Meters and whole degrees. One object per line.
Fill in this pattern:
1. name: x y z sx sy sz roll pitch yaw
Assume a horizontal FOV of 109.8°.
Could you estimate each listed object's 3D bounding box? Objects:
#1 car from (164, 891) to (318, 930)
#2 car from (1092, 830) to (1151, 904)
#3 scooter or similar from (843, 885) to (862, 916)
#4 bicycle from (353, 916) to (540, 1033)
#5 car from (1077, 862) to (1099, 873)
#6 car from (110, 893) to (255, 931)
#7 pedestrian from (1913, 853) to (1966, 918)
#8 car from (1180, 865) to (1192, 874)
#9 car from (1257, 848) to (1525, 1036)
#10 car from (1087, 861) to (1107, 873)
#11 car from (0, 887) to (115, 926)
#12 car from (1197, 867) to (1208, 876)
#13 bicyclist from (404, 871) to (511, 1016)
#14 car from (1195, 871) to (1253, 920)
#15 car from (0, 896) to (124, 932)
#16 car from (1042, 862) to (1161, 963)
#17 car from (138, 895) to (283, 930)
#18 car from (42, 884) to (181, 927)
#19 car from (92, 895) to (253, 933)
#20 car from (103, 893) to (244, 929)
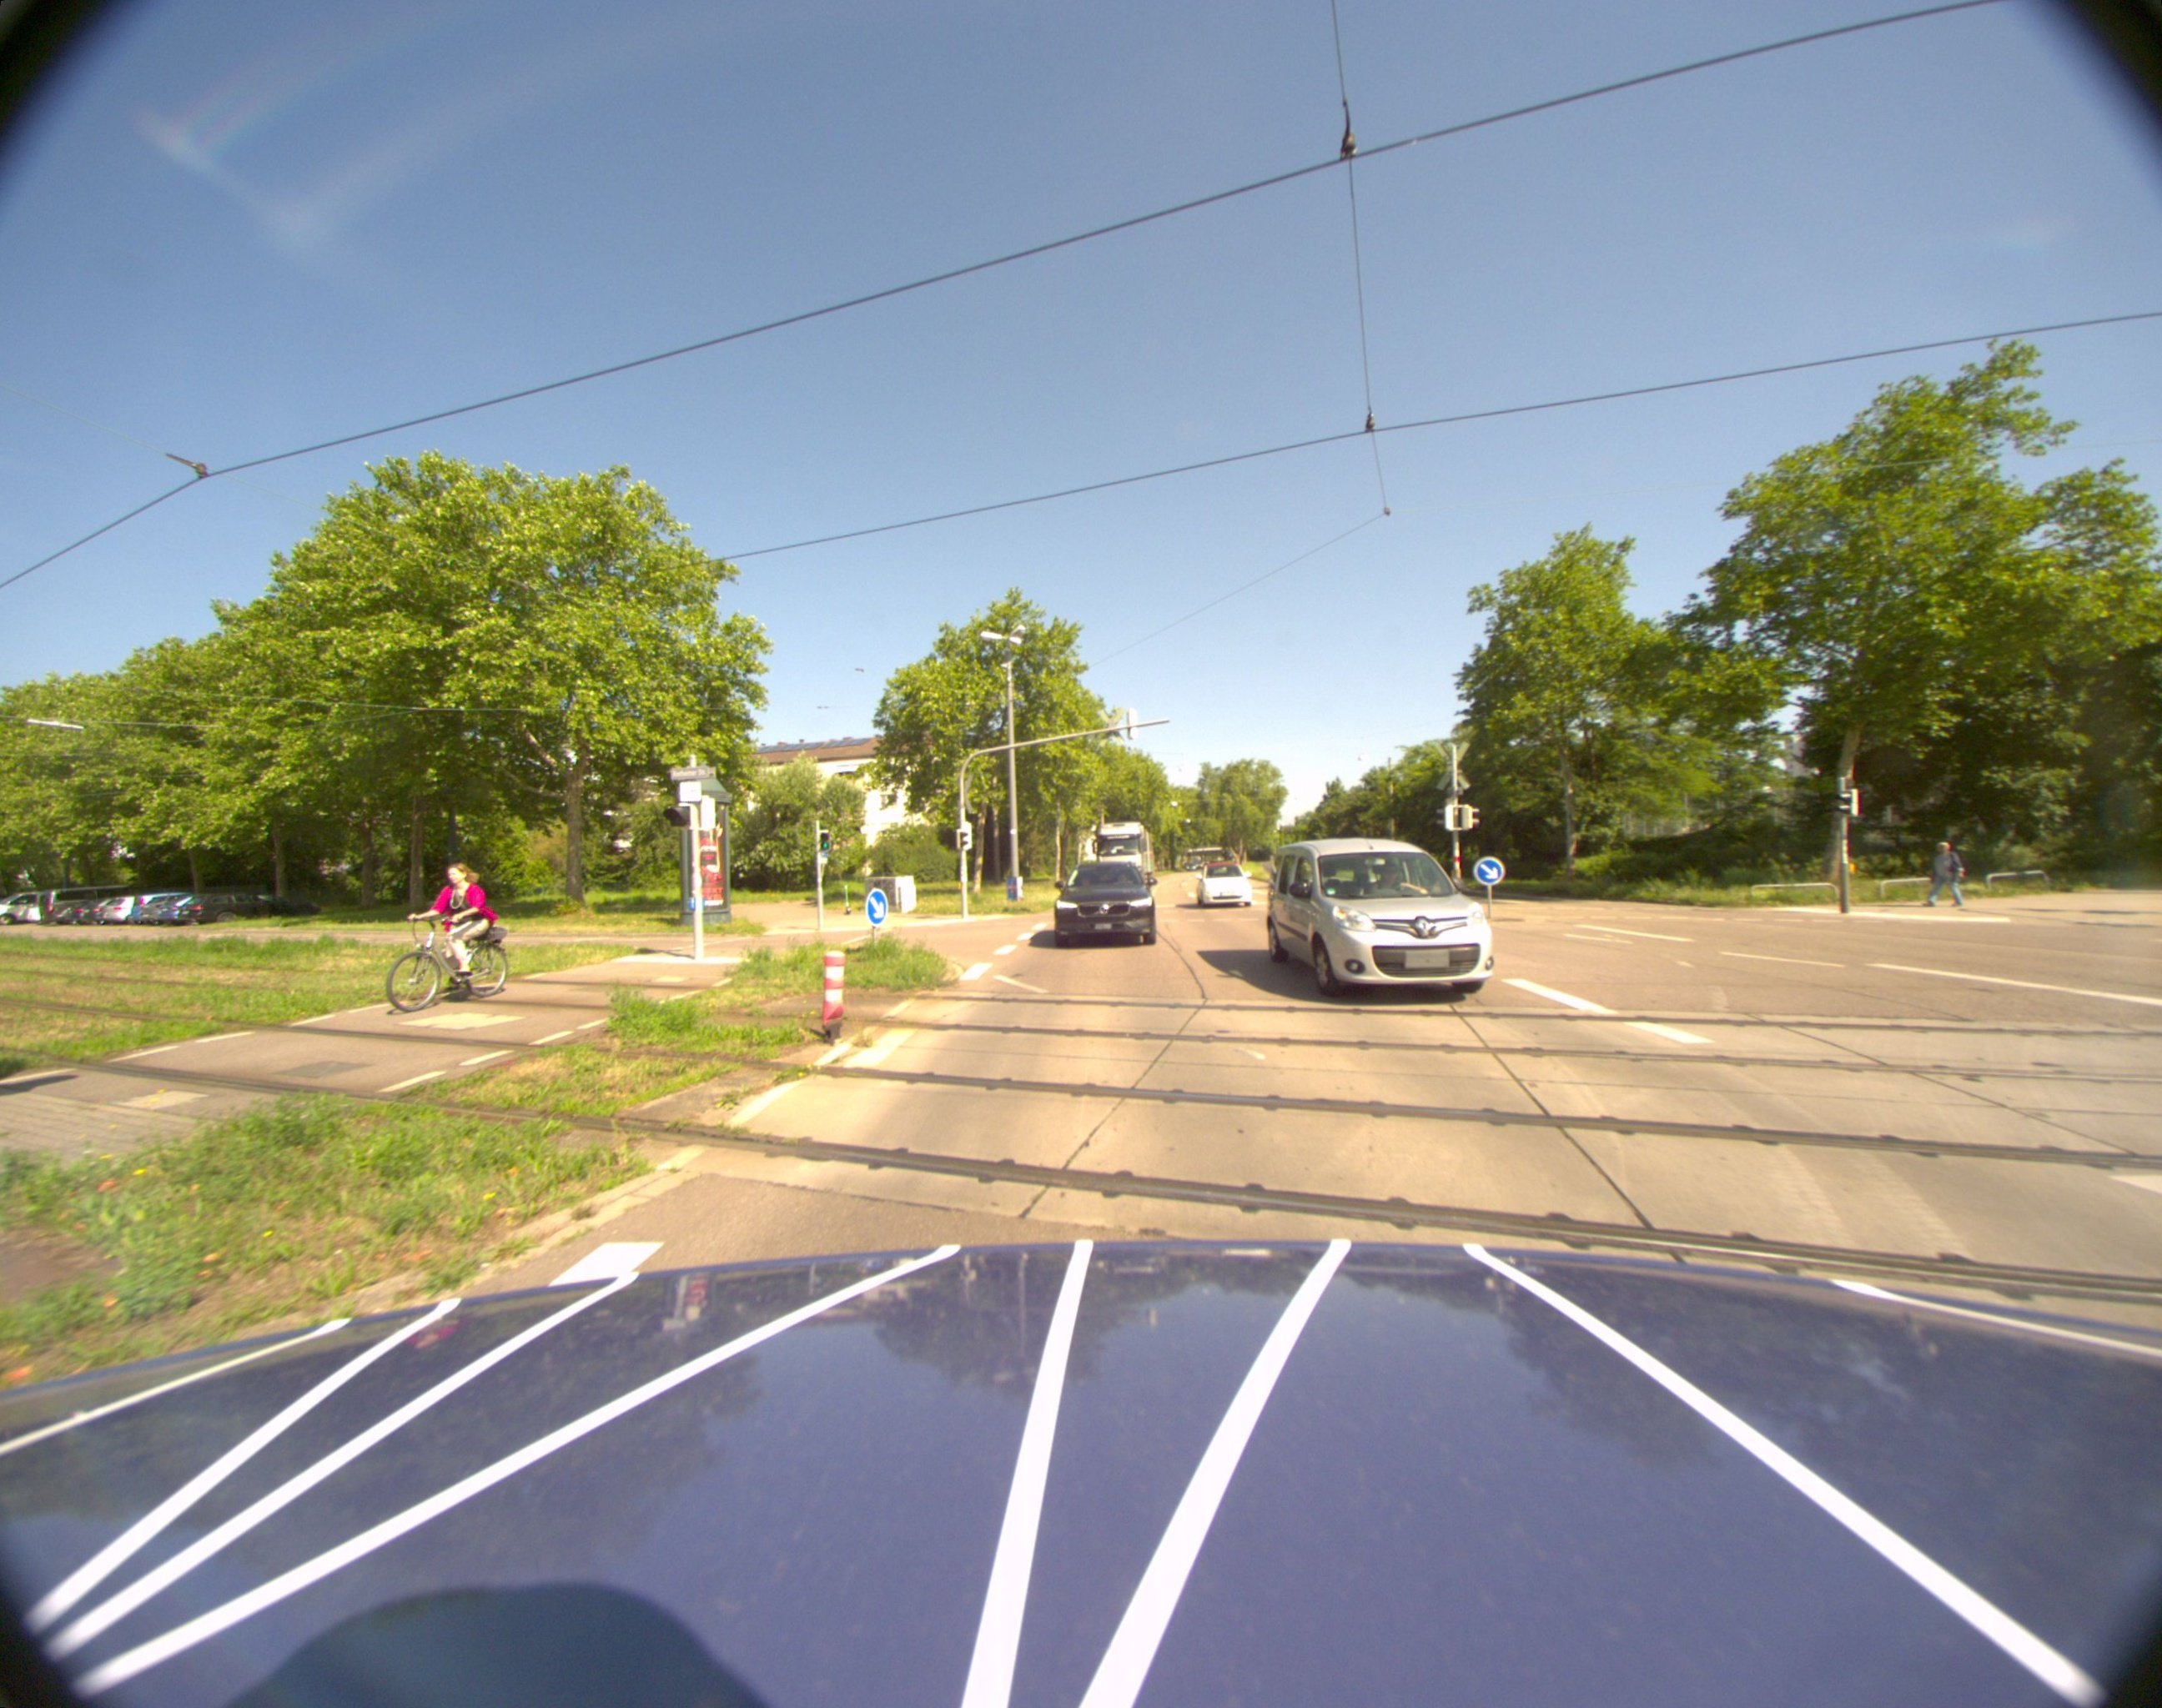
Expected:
1. car: -39.096 2.609 35.517 1.996 1.482 4.360 -2 0 17
2. car: 2.485 0.714 44.086 2.901 3.897 7.146 -1 -1 6
3. scooter or similar: -9.043 1.827 30.068 0.517 1.135 1.443 -3 1 -22
4. bicycle: -8.031 1.469 9.771 0.693 1.178 2.125 -1 -1 -3
5. car: 0.973 1.797 103.535 1.504 1.364 4.096 -2 -1 21
6. car: -46.475 2.989 39.441 1.996 1.623 4.361 -3 -1 16
7. pedestrian: 20.848 0.757 18.451 0.607 1.525 0.568 -1 0 -1
8. car: 24.345 3.569 176.137 1.995 2.001 4.006 -2 -1 21
9. car: 3.612 0.889 9.828 1.876 1.829 4.376 -2 0 4
10. car: 2.358 1.820 108.913 1.504 1.632 4.096 -2 -1 21
11. car: -64.947 3.281 47.885 1.996 2.196 4.596 -2 -1 17
12. car: 30.360 4.410 189.975 1.996 2.001 4.006 -2 -1 17
13. bicyclist: -8.052 1.124 9.850 0.702 1.776 0.810 -1 0 -3
14. car: 4.959 1.398 26.759 1.688 1.482 4.378 -1 -1 7
15. car: -54.742 3.141 40.397 1.996 1.623 4.361 -2 -1 17
16. car: 0.468 1.046 15.084 1.904 1.605 4.875 -3 -2 3
17. car: -43.921 2.910 38.495 1.996 1.481 4.361 -2 -1 17
18. car: -56.554 2.959 44.457 1.995 2.276 4.597 -2 -1 22
19. car: -42.347 2.749 35.566 1.996 1.481 4.361 -2 -1 17
20. car: -48.330 2.995 40.589 1.996 1.623 4.361 -2 -1 17
